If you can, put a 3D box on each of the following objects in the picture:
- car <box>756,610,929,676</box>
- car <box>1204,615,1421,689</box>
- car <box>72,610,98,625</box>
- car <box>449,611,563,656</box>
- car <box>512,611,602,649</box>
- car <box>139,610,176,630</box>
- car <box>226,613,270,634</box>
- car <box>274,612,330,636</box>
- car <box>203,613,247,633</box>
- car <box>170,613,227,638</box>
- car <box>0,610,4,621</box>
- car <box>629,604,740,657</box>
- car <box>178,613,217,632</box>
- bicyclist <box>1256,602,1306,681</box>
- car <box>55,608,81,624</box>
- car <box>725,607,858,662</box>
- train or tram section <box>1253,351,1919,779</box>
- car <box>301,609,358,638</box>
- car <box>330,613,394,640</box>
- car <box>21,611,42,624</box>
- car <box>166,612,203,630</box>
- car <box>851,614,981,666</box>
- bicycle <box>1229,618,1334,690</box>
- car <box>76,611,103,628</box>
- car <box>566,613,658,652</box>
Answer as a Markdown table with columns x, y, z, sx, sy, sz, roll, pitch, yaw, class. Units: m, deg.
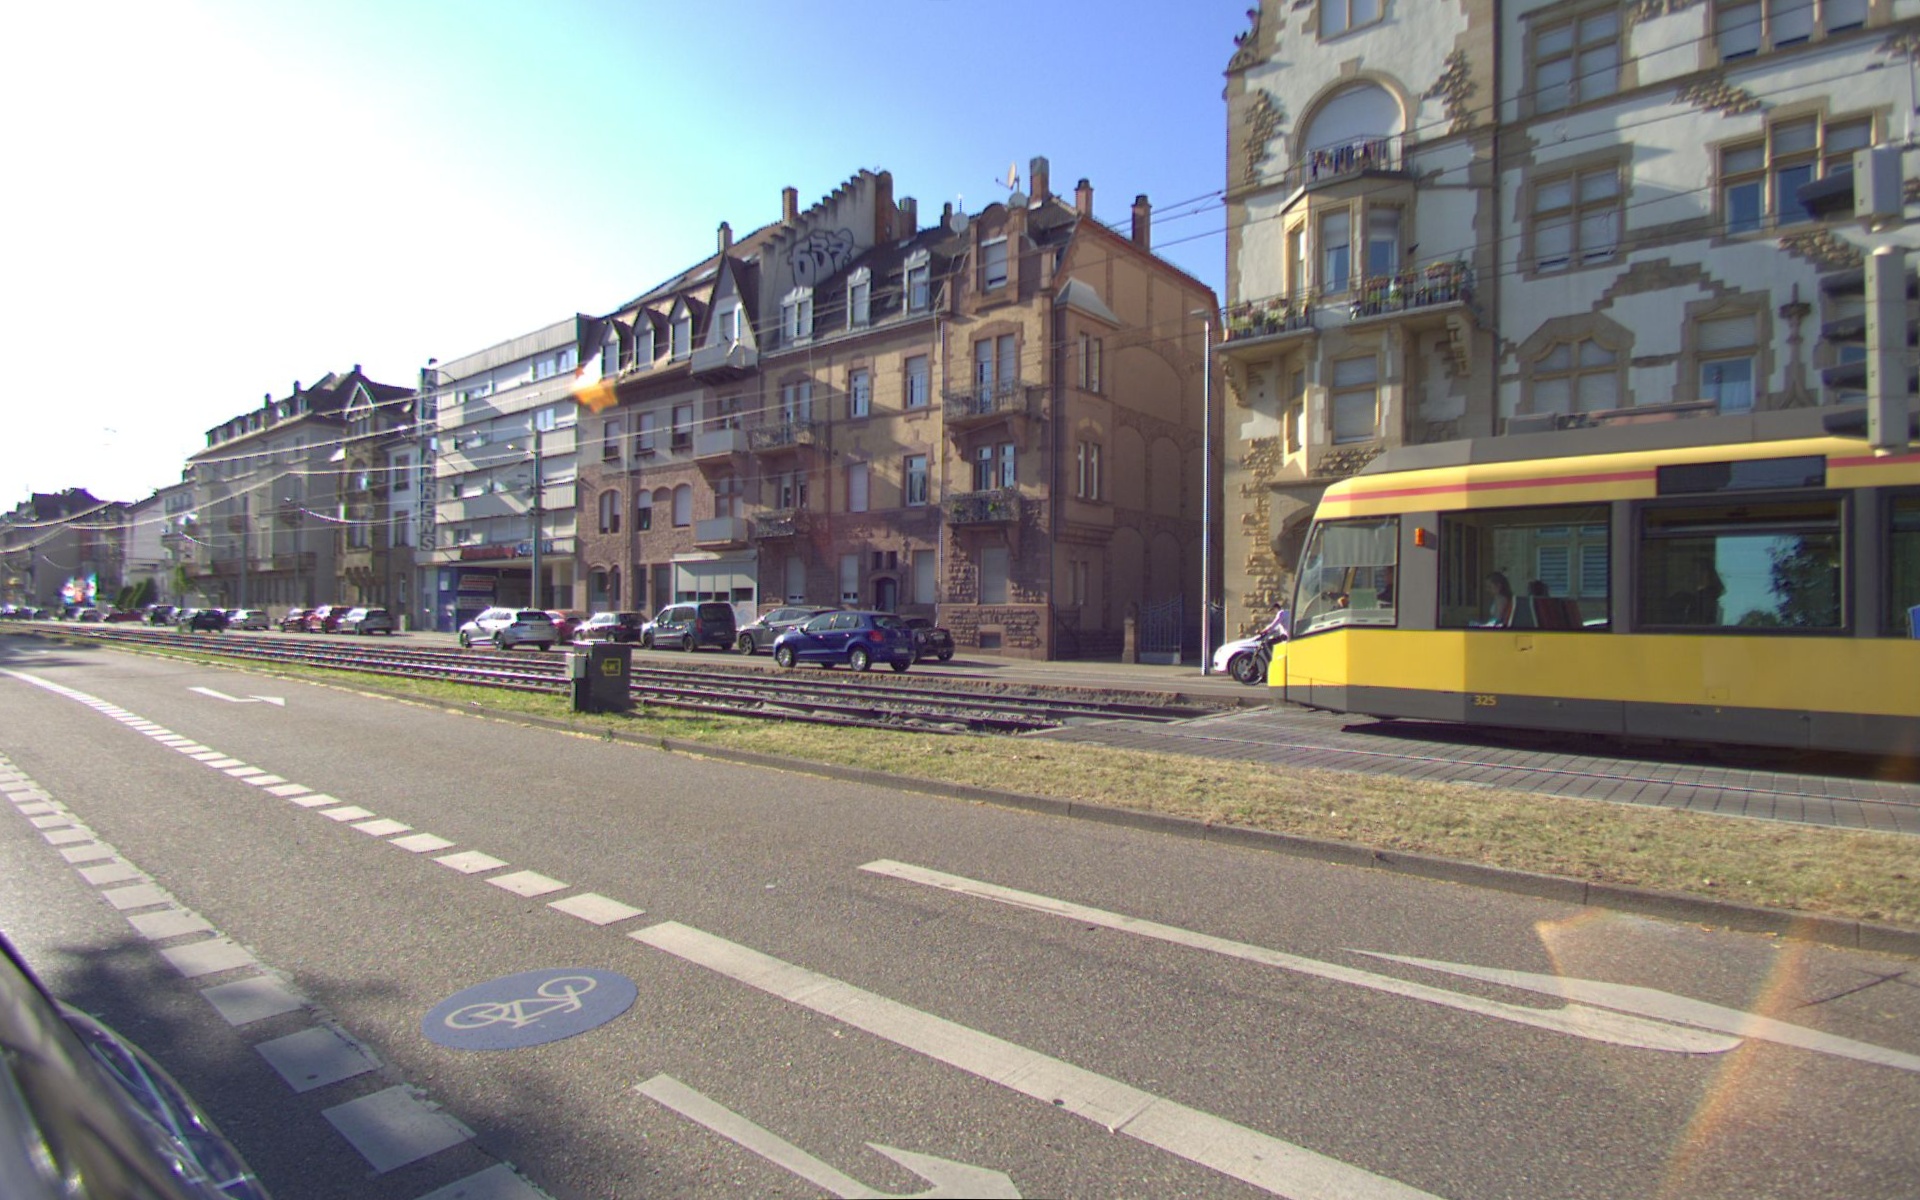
| x | y | z | sx | sy | sz | roll | pitch | yaw | class |
| --- | --- | --- | --- | --- | --- | --- | --- | --- | --- |
| -2.918 | 1.005 | 24.756 | 4.150 | 1.468 | 1.803 | 0 | -2 | 38 | car |
| 7.725 | 1.080 | 22.372 | 4.217 | 1.441 | 1.693 | -1 | 1 | 38 | car |
| -95.862 | 1.956 | 110.835 | 3.386 | 1.583 | 1.663 | 0 | 0 | 40 | car |
| -15.963 | 1.137 | 35.469 | 4.535 | 1.468 | 1.802 | 0 | -2 | 39 | car |
| -17.581 | 1.286 | 44.093 | 4.206 | 1.510 | 1.838 | -1 | 2 | 39 | car |
| -71.474 | 1.771 | 90.144 | 3.913 | 1.750 | 1.852 | -1 | 0 | 41 | car |
| -51.729 | 1.695 | 73.516 | 3.821 | 1.490 | 1.779 | -1 | 0 | 41 | car |
| -42.735 | 1.554 | 65.698 | 3.720 | 1.507 | 1.737 | -1 | 0 | 34 | car |
| -55.756 | 1.741 | 76.776 | 3.818 | 1.441 | 1.780 | -1 | 0 | 39 | car |
| -46.472 | 1.548 | 61.732 | 4.162 | 1.468 | 1.802 | 0 | -2 | 39 | car |
| -148.926 | 2.405 | 156.208 | 3.448 | 1.602 | 1.603 | 0 | 0 | 40 | car |
| -10.241 | 1.074 | 37.507 | 4.417 | 1.772 | 1.865 | -1 | 2 | 43 | car |
| -62.555 | 1.831 | 83.052 | 3.821 | 1.490 | 1.779 | -1 | 0 | 41 | car |
| 6.562 | 0.843 | 20.692 | 0.785 | 1.575 | 0.677 | -1 | -2 | 41 | bicyclist |
| -103.564 | 1.879 | 117.442 | 3.878 | 1.800 | 1.706 | 0 | 0 | 40 | car |
| -5.648 | 1.094 | 33.645 | 4.498 | 1.635 | 1.838 | -1 | 2 | 39 | car |
| 9.395 | -0.276 | 8.846 | 13.194 | 3.516 | 2.784 | -1 | -1 | 40 | train or tram section |
| -38.887 | 1.429 | 62.365 | 4.261 | 1.700 | 1.837 | -1 | 0 | 41 | car |
| -34.797 | 1.516 | 58.870 | 4.377 | 1.510 | 1.838 | -1 | 0 | 39 | car |
| -119.653 | 2.271 | 130.448 | 3.448 | 1.602 | 1.603 | 0 | 0 | 40 | car |
| -66.849 | 1.805 | 87.218 | 3.821 | 1.490 | 1.779 | -1 | 0 | 41 | car |
| -1.353 | 1.151 | 30.203 | 3.722 | 1.364 | 1.606 | -1 | 2 | 39 | car |
| 6.547 | 1.069 | 20.689 | 1.946 | 1.392 | 0.677 | -1 | -2 | 42 | bicycle |
| -91.987 | 2.051 | 106.917 | 3.406 | 1.644 | 1.656 | -1 | 0 | 41 | car |
| -14.083 | 1.283 | 40.839 | 3.924 | 1.448 | 1.678 | -1 | 2 | 39 | car |
